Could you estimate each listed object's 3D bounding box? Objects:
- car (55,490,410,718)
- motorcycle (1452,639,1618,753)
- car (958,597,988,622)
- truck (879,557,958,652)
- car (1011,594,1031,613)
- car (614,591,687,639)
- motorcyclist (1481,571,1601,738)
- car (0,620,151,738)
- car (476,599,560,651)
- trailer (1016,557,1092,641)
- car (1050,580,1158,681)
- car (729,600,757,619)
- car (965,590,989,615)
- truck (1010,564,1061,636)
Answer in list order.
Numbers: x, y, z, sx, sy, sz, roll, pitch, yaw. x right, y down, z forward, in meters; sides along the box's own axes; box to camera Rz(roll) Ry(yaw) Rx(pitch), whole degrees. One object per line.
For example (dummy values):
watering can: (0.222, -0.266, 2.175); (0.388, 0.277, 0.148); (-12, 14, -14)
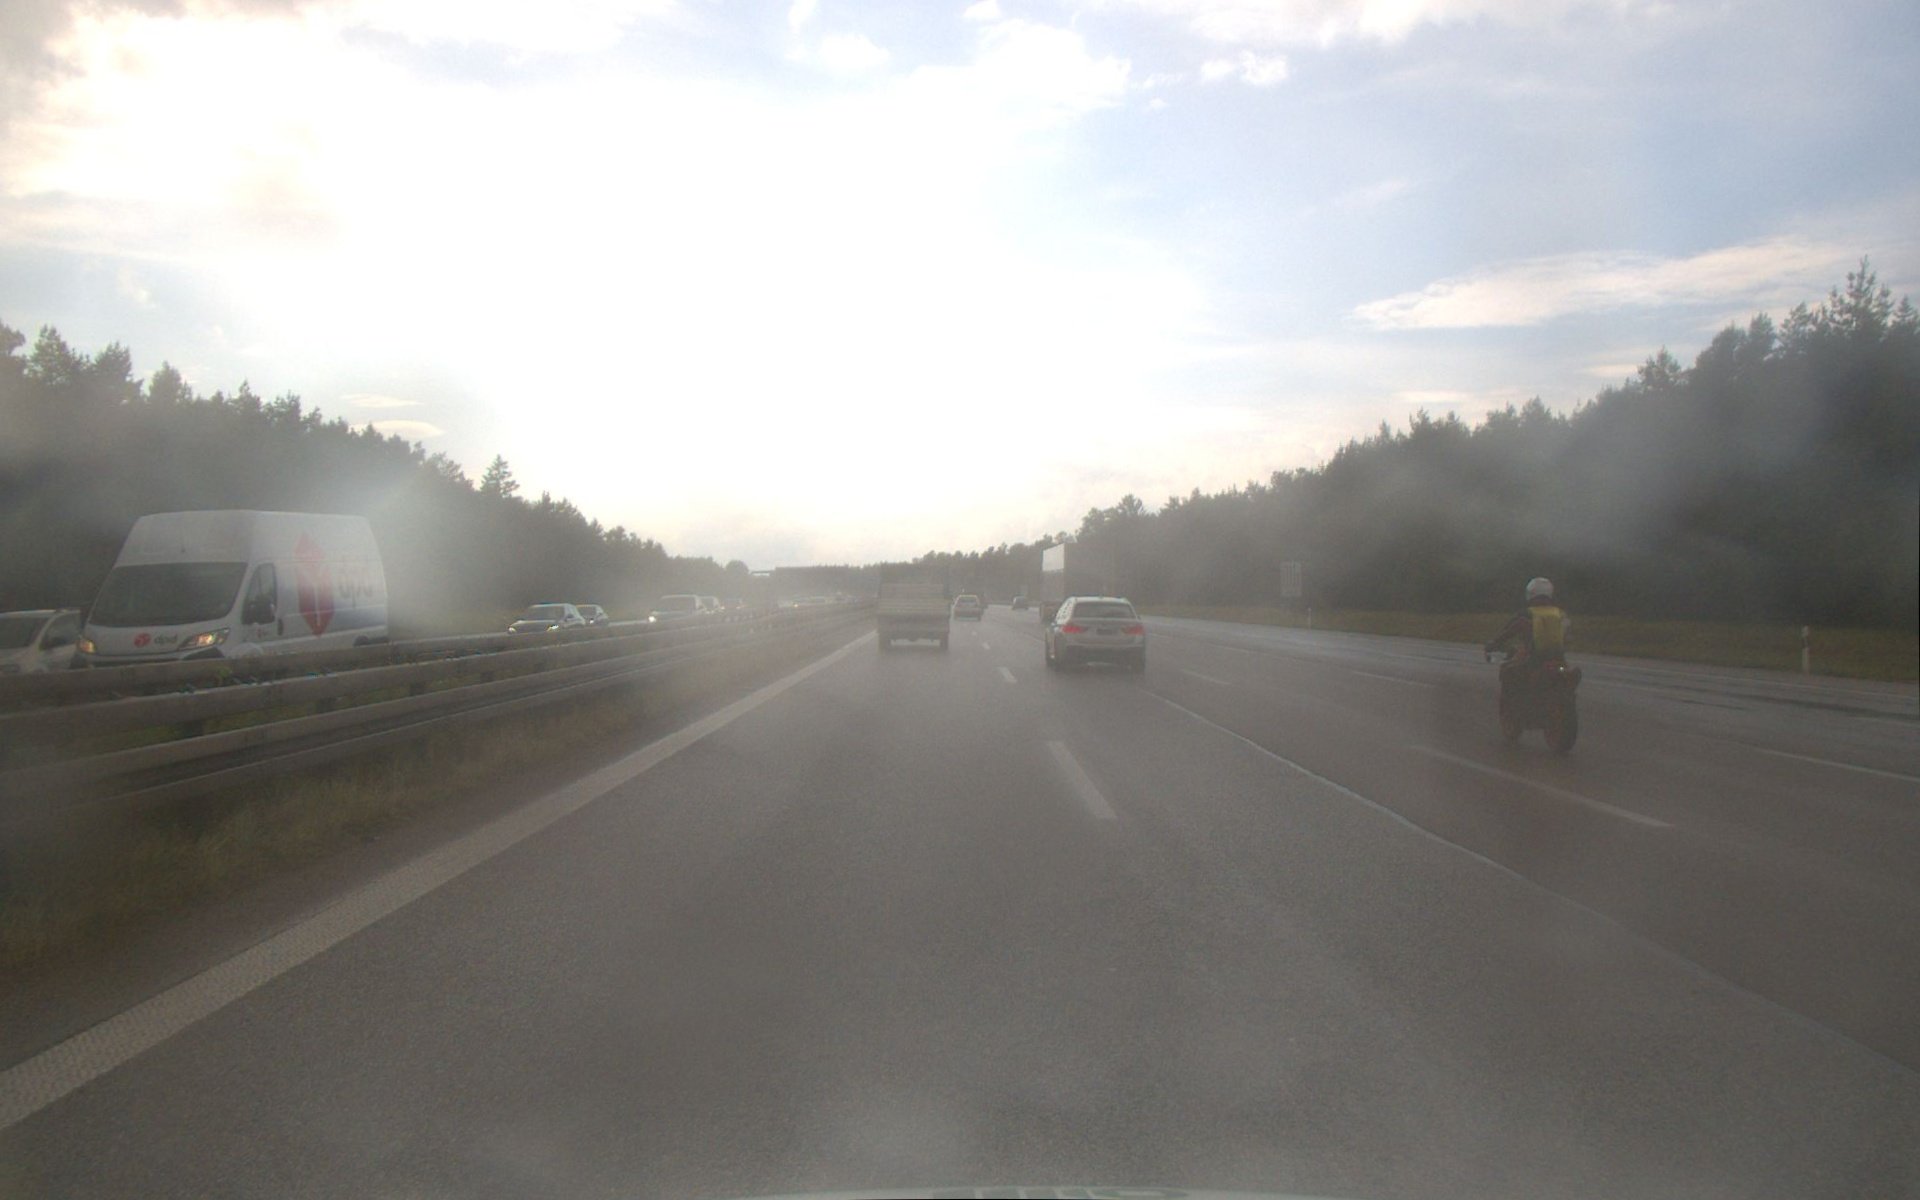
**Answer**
car: (-9.802, 0.037, 23.096); (2.089, 2.708, 6.672); (-1, 0, -1)
motorcycle: (5.934, 0.966, 17.234); (0.979, 1.049, 2.174); (0, 0, 0)
car: (0.810, 0.584, 102.601); (1.793, 1.492, 4.000); (1, 0, 0)
truck: (-1.199, 0.114, 46.893); (2.094, 2.532, 5.311); (0, 0, -2)
car: (6.861, 0.350, 186.605); (1.953, 2.049, 3.999); (2, 0, -1)
car: (-10.656, 0.508, 57.153); (1.753, 1.569, 3.722); (-1, 0, 0)
motorcyclist: (5.905, 0.542, 16.855); (0.873, 1.643, 0.959); (0, 0, 0)
car: (-14.281, 1.151, 25.383); (1.716, 1.607, 3.954); (0, 0, 1)
car: (-14.278, 0.788, 53.608); (1.717, 1.607, 3.846); (0, 0, -1)
trailer: (4.793, -0.045, 86.799); (2.278, 4.071, 13.400); (0, 0, -4)
car: (2.927, 0.588, 34.597); (2.034, 1.918, 5.013); (1, 0, 3)
car: (-19.122, 0.820, 145.723); (1.862, 1.574, 4.511); (-3, 0, -1)
car: (1.411, 0.209, 137.680); (1.869, 2.049, 3.999); (1, 0, -1)
truck: (4.253, 0.017, 93.614); (2.248, 3.935, 5.387); (0, 0, -4)
